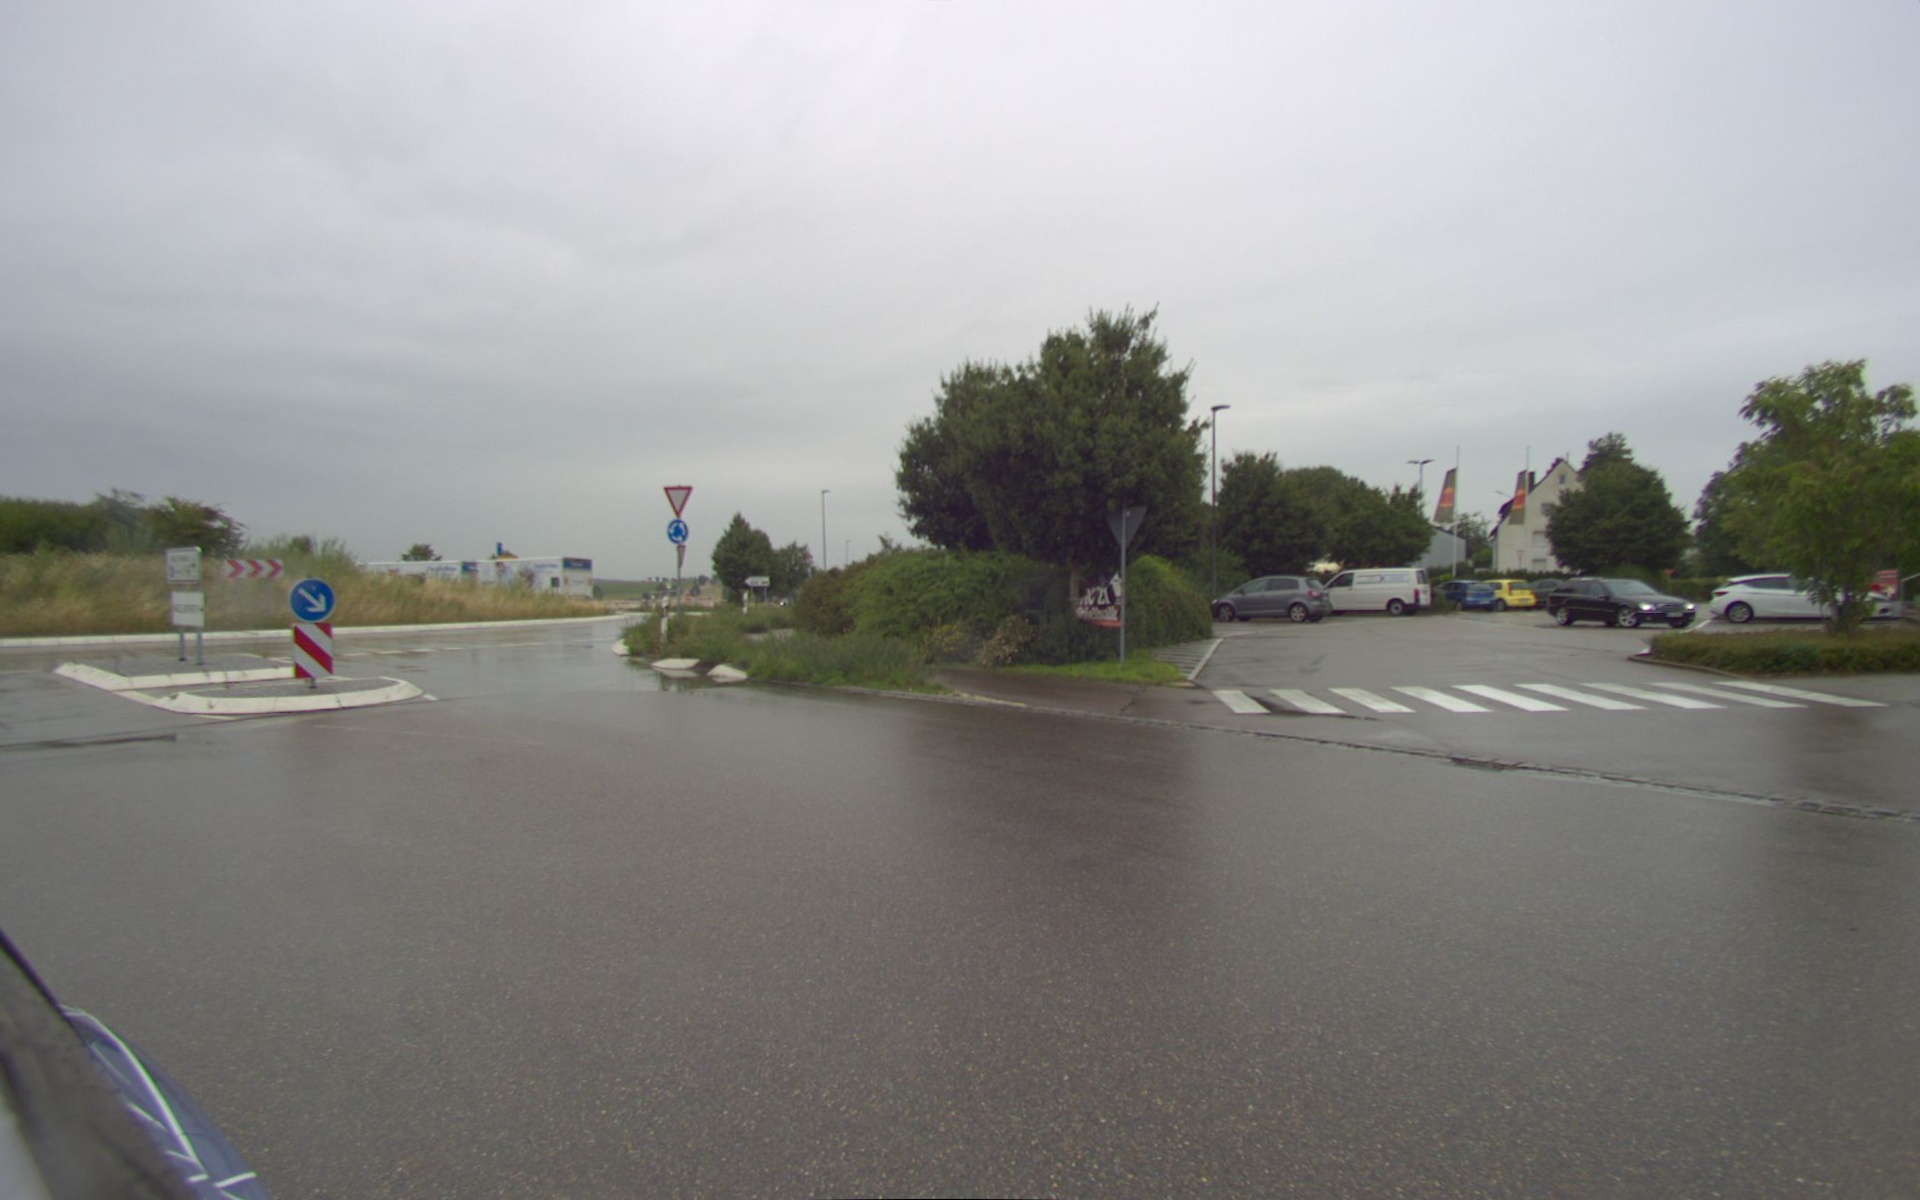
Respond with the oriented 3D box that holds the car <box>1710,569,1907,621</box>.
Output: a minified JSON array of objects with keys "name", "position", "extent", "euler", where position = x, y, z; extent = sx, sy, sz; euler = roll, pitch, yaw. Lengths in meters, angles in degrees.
[{"name":"car","position":[25.027,-0.140,30.070],"extent":[4.355,1.435,1.826],"euler":[-1,0,39]}]

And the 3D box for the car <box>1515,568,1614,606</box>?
[{"name":"car","position":[29.745,-0.613,49.930],"extent":[1.958,1.741,4.009],"euler":[-1,0,-12]}]

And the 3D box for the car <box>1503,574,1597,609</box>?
[{"name":"car","position":[28.036,-0.376,48.232],"extent":[1.721,1.582,3.897],"euler":[-1,0,-11]}]

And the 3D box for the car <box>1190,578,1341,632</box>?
[{"name":"car","position":[10.573,0.206,35.224],"extent":[4.605,1.735,1.973],"euler":[-2,-1,40]}]

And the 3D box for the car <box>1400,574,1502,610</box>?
[{"name":"car","position":[22.840,-0.347,47.276],"extent":[1.968,1.562,4.657],"euler":[-1,0,-8]}]

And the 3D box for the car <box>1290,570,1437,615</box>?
[{"name":"car","position":[16.915,-0.286,42.593],"extent":[5.373,1.735,1.973],"euler":[-2,-1,40]}]

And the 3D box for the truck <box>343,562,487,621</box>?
[{"name":"truck","position":[-36.126,-0.557,67.217],"extent":[8.076,3.625,3.110],"euler":[-1,0,7]}]

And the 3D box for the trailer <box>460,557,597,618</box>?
[{"name":"trailer","position":[-27.654,-0.748,64.764],"extent":[8.811,3.641,3.073],"euler":[-1,0,26]}]

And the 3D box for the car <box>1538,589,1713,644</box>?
[{"name":"car","position":[19.216,0.420,29.481],"extent":[1.679,1.435,4.370],"euler":[-1,1,-10]}]

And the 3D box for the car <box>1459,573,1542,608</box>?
[{"name":"car","position":[25.535,-0.423,47.941],"extent":[1.641,1.561,3.731],"euler":[-1,0,-6]}]
